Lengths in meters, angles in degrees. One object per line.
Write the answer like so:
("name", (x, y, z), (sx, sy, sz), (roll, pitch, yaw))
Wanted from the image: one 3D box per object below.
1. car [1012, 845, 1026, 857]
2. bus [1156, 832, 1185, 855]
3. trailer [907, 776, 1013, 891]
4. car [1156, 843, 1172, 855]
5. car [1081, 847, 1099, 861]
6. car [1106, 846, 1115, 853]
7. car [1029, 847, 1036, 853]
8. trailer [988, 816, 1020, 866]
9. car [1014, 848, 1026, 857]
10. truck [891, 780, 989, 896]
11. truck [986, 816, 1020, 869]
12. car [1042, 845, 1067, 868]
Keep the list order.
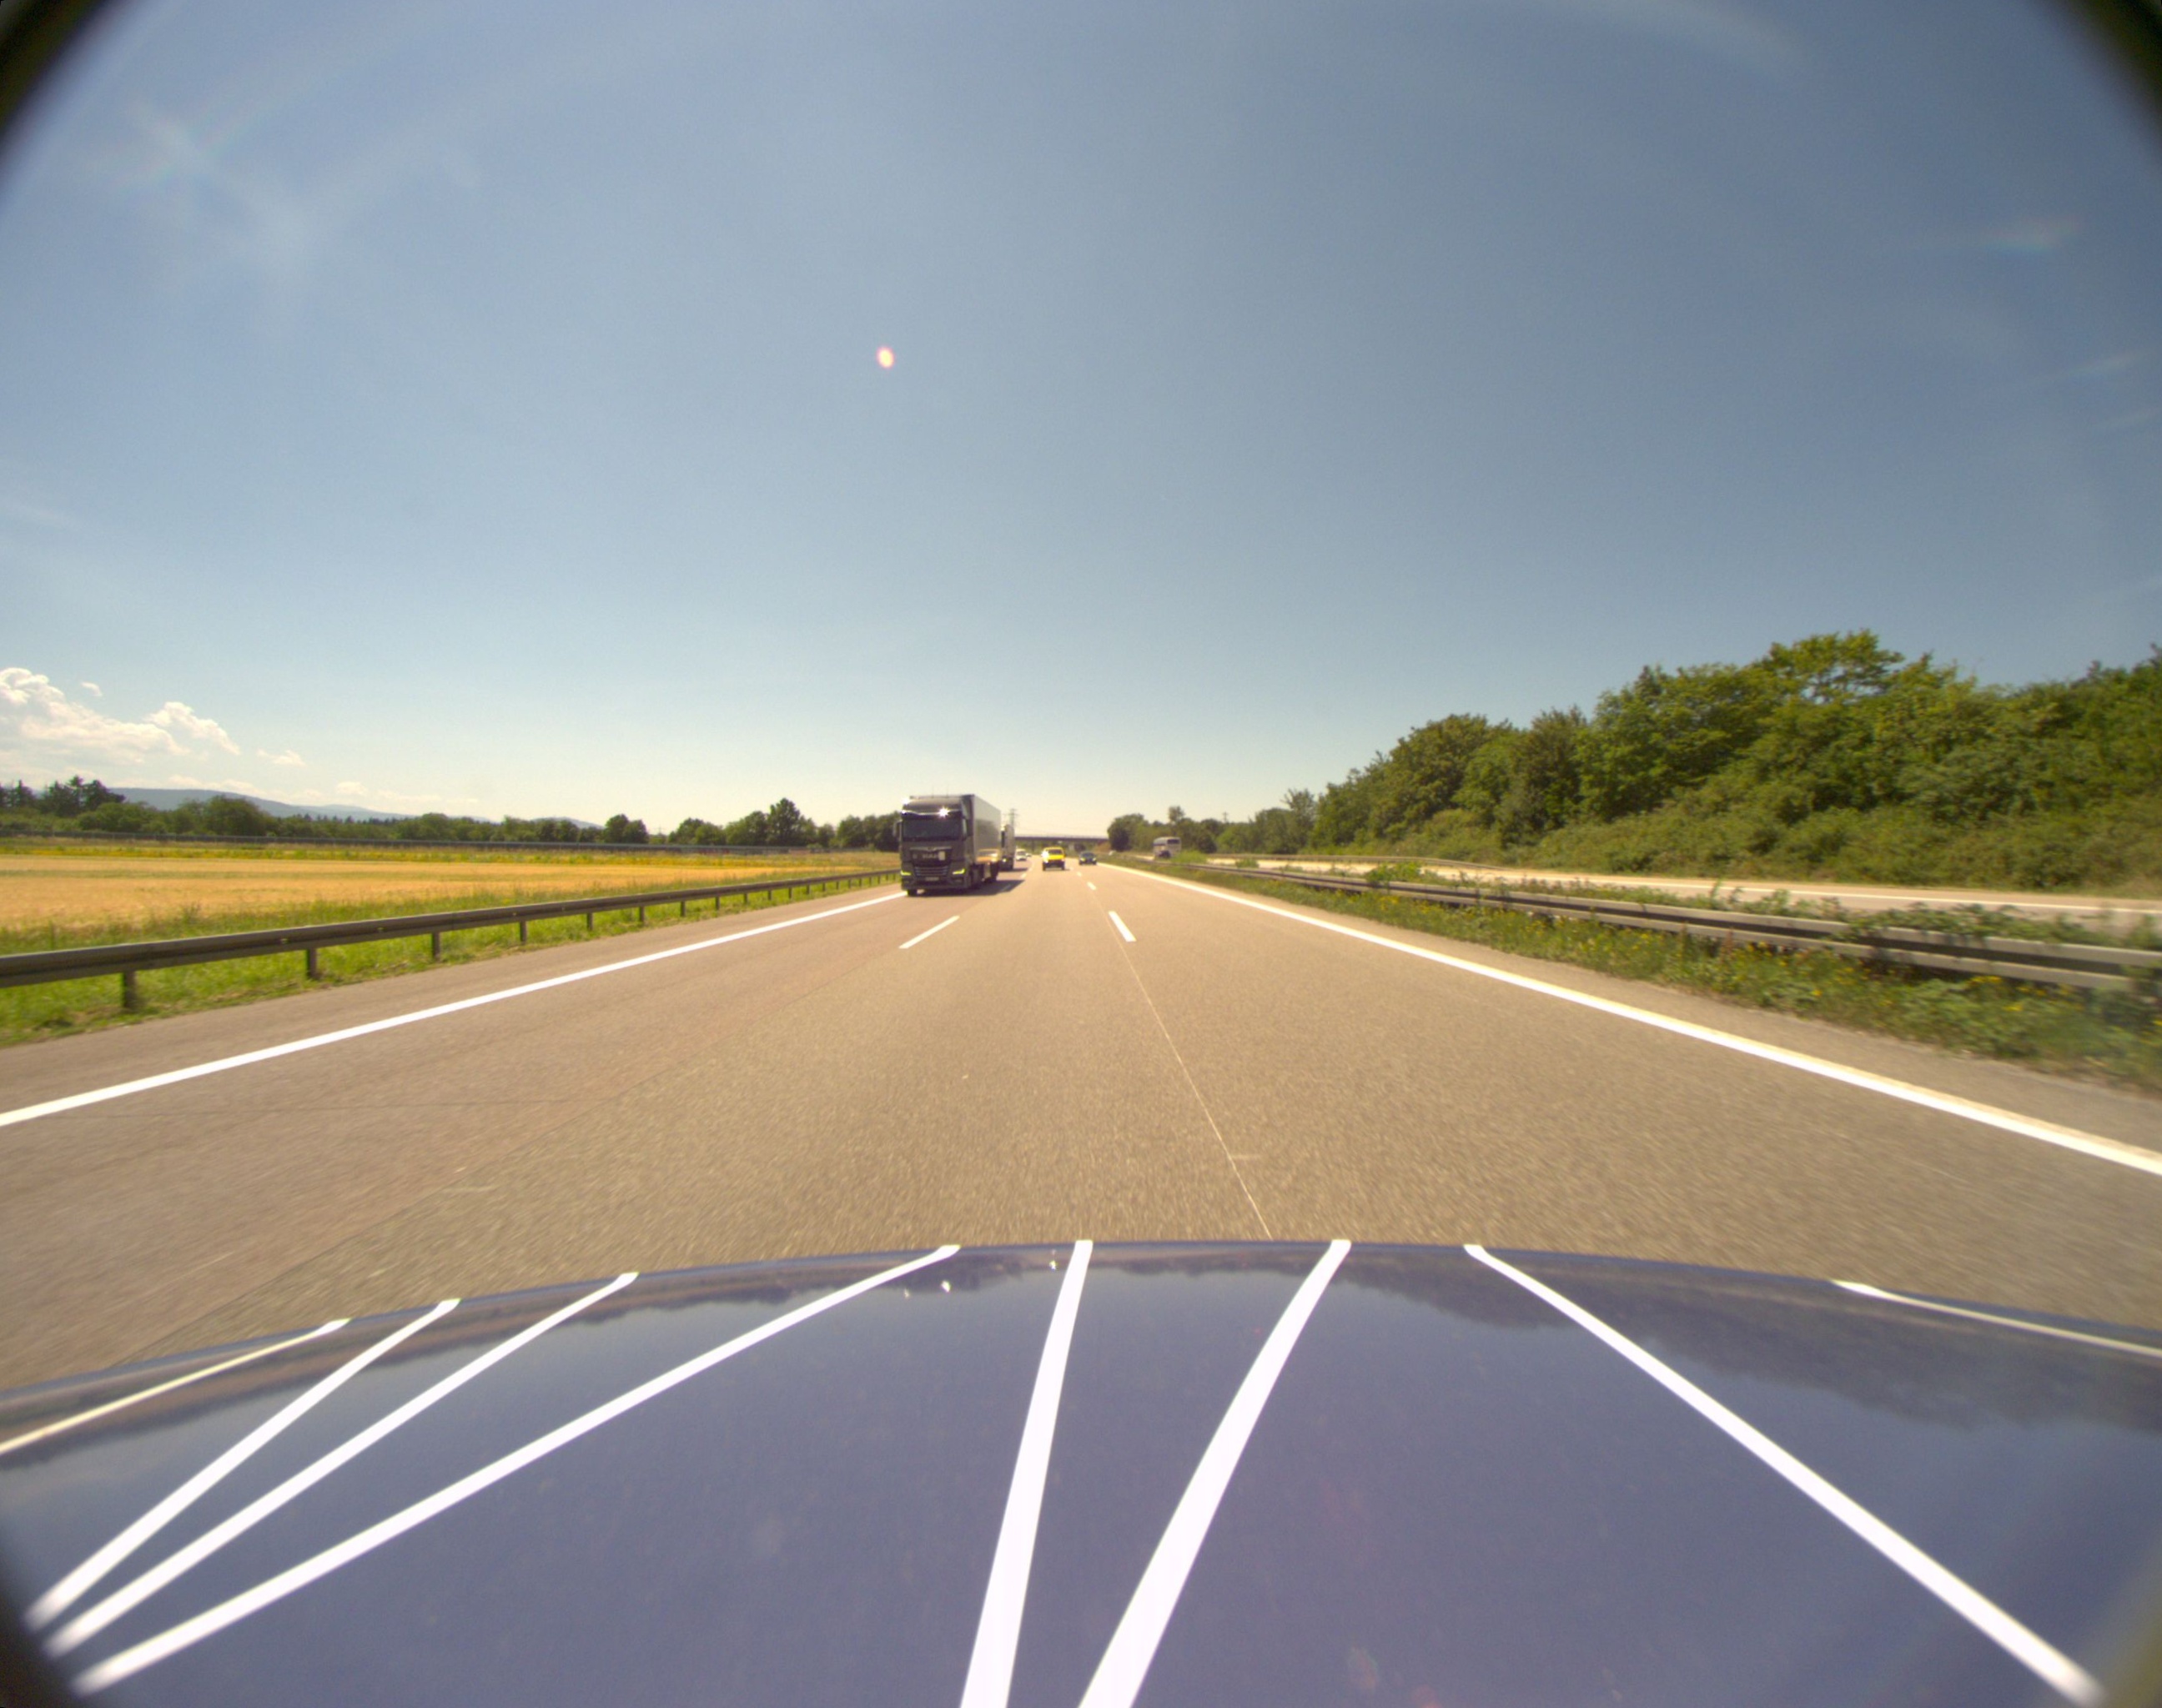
("car", (-11.915, -0.566, 144.797), (2.190, 2.253, 4.946), (0, 1, -11))
("bus", (15.290, -1.846, 130.647), (2.749, 3.686, 12.995), (-2, 1, -2))
("trailer", (-5.535, -0.912, 37.977), (2.908, 4.630, 13.984), (-1, 1, 0))
("car", (12.252, -0.757, 112.498), (1.830, 1.622, 4.557), (-1, 1, -2))
("car", (0.971, -0.031, 85.271), (1.726, 1.478, 3.998), (-1, 1, -4))
("car", (6.756, -0.976, 176.011), (1.772, 1.506, 4.329), (-2, 1, -2))
("car", (-14.013, -1.166, 219.071), (1.650, 1.557, 3.596), (0, 1, -11))
("trailer", (-7.138, -1.451, 72.091), (2.603, 4.229, 13.627), (-1, 3, -5))
("car", (-11.159, -0.280, 138.171), (1.785, 1.467, 3.995), (0, 1, -11))
("truck", (-5.540, -0.615, 30.674), (2.915, 4.232, 4.974), (-1, 1, 0))
("truck", (-6.554, -1.076, 64.545), (2.608, 4.233, 5.084), (-1, 3, -4))
("car", (-2.310, 0.179, 64.500), (1.778, 1.882, 3.829), (0, 1, -8))
